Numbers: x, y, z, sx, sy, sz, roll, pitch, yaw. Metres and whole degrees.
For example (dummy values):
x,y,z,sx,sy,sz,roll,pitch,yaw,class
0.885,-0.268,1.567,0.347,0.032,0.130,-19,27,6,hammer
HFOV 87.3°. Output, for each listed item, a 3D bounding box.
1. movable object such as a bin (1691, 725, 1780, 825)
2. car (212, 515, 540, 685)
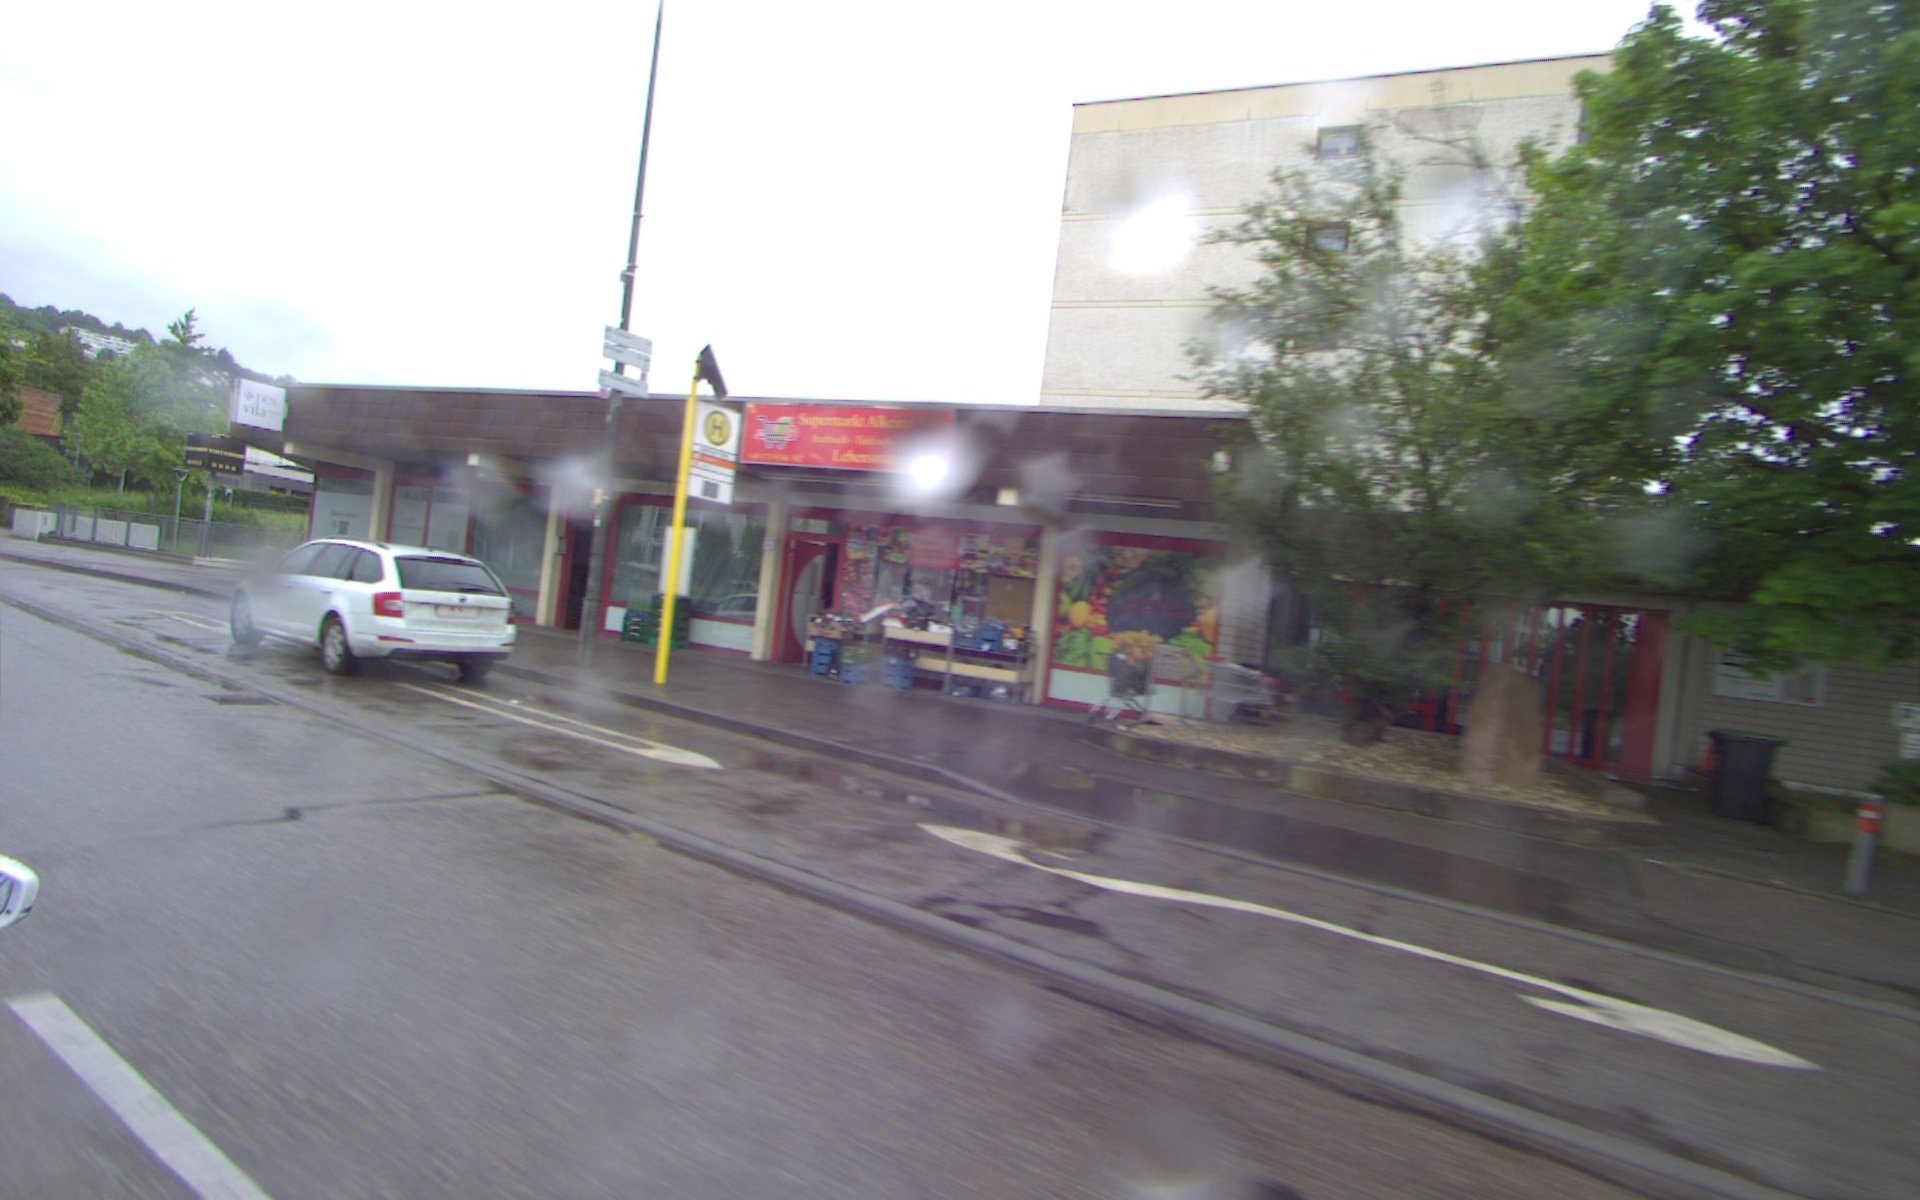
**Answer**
x,y,z,sx,sy,sz,roll,pitch,yaw,class
9.581,2.148,12.452,0.629,1.069,0.645,7,1,23,movable object such as a bin
-7.164,-0.055,12.169,4.411,1.517,1.730,7,1,36,car
